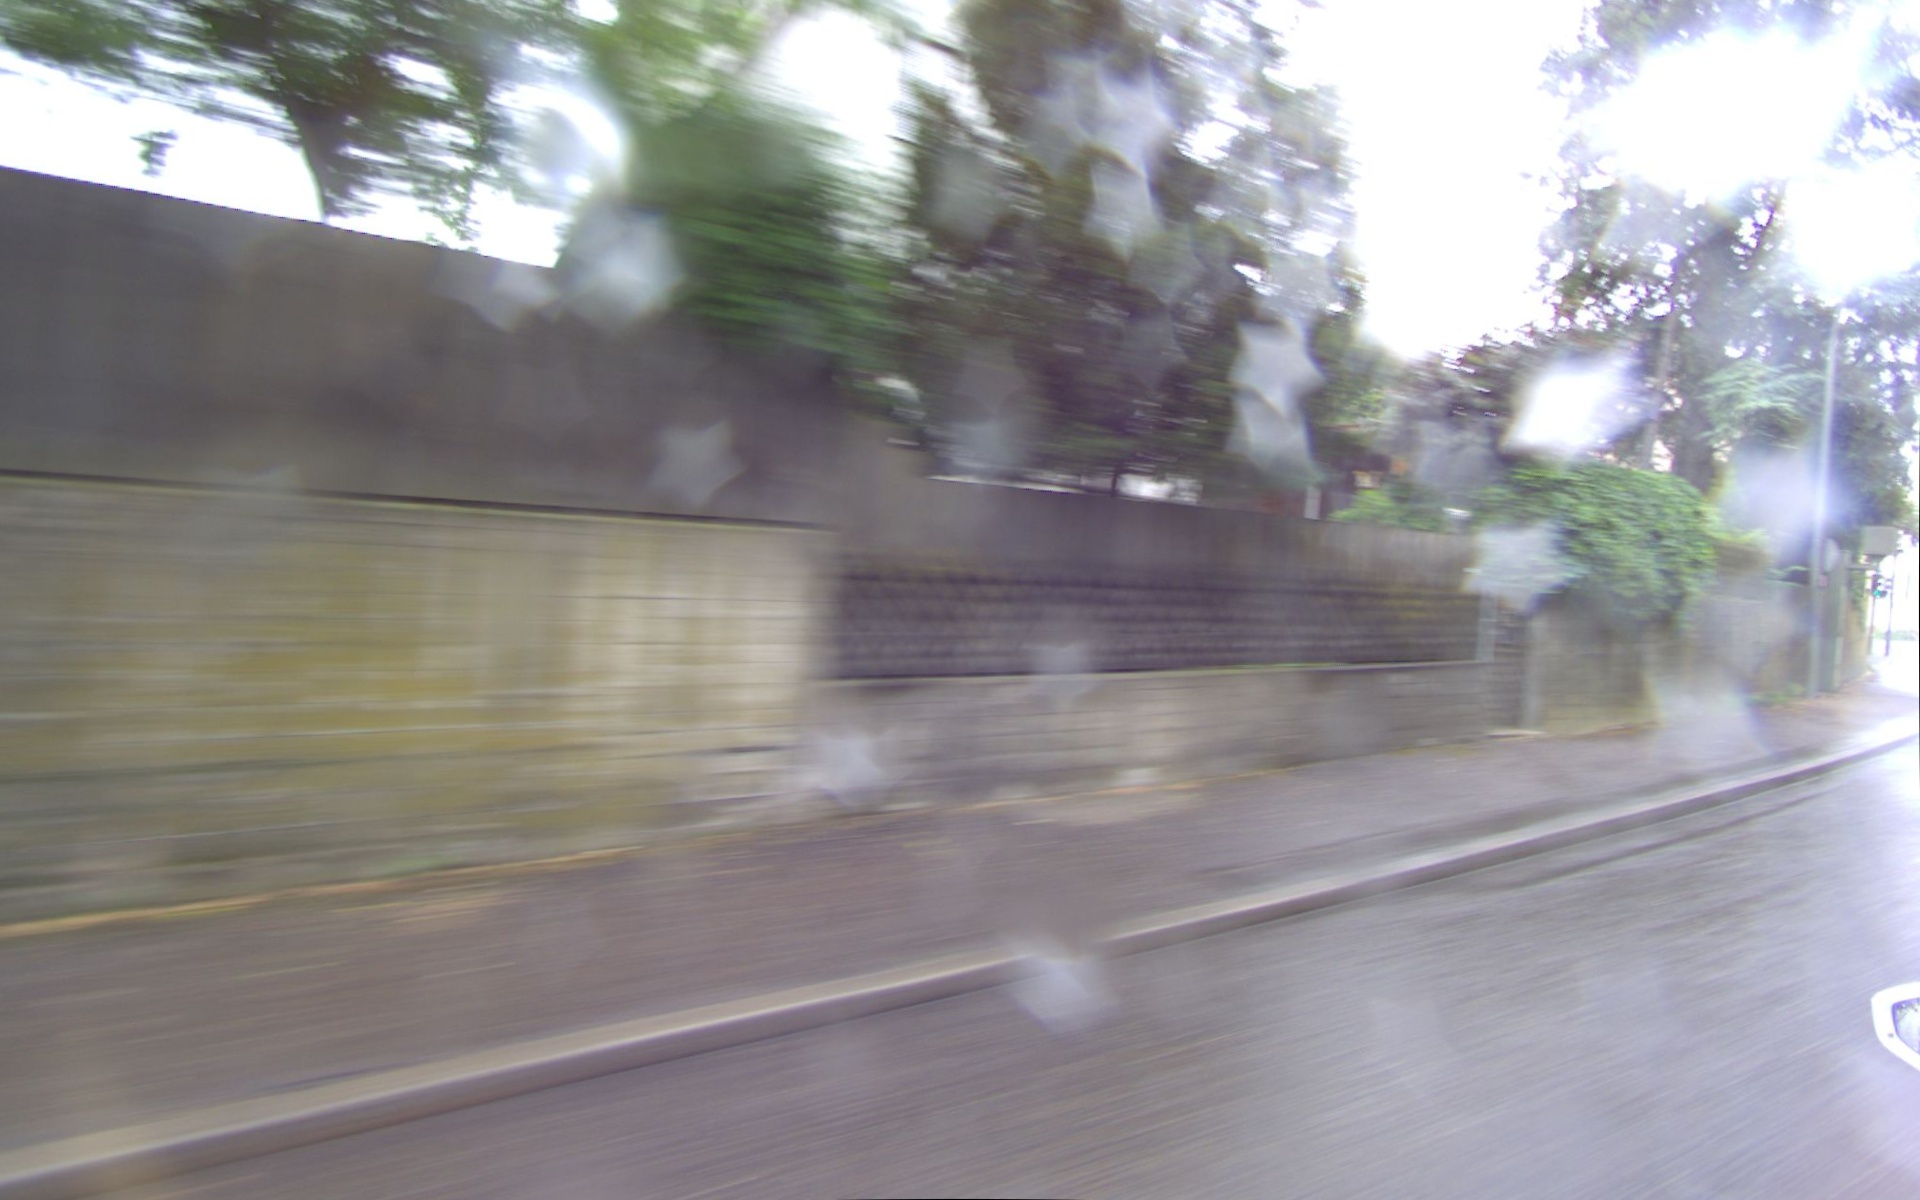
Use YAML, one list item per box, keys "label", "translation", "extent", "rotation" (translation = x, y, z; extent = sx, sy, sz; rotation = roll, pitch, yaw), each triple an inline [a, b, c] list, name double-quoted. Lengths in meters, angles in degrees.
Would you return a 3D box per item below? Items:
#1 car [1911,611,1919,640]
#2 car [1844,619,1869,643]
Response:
- label: "car"
  translation: [61.399, 1.636, 63.259]
  extent: [1.971, 1.729, 3.979]
  rotation: [2, 1, 42]
- label: "car"
  translation: [110.490, 3.859, 123.779]
  extent: [2.071, 2.684, 5.887]
  rotation: [6, 1, 42]
